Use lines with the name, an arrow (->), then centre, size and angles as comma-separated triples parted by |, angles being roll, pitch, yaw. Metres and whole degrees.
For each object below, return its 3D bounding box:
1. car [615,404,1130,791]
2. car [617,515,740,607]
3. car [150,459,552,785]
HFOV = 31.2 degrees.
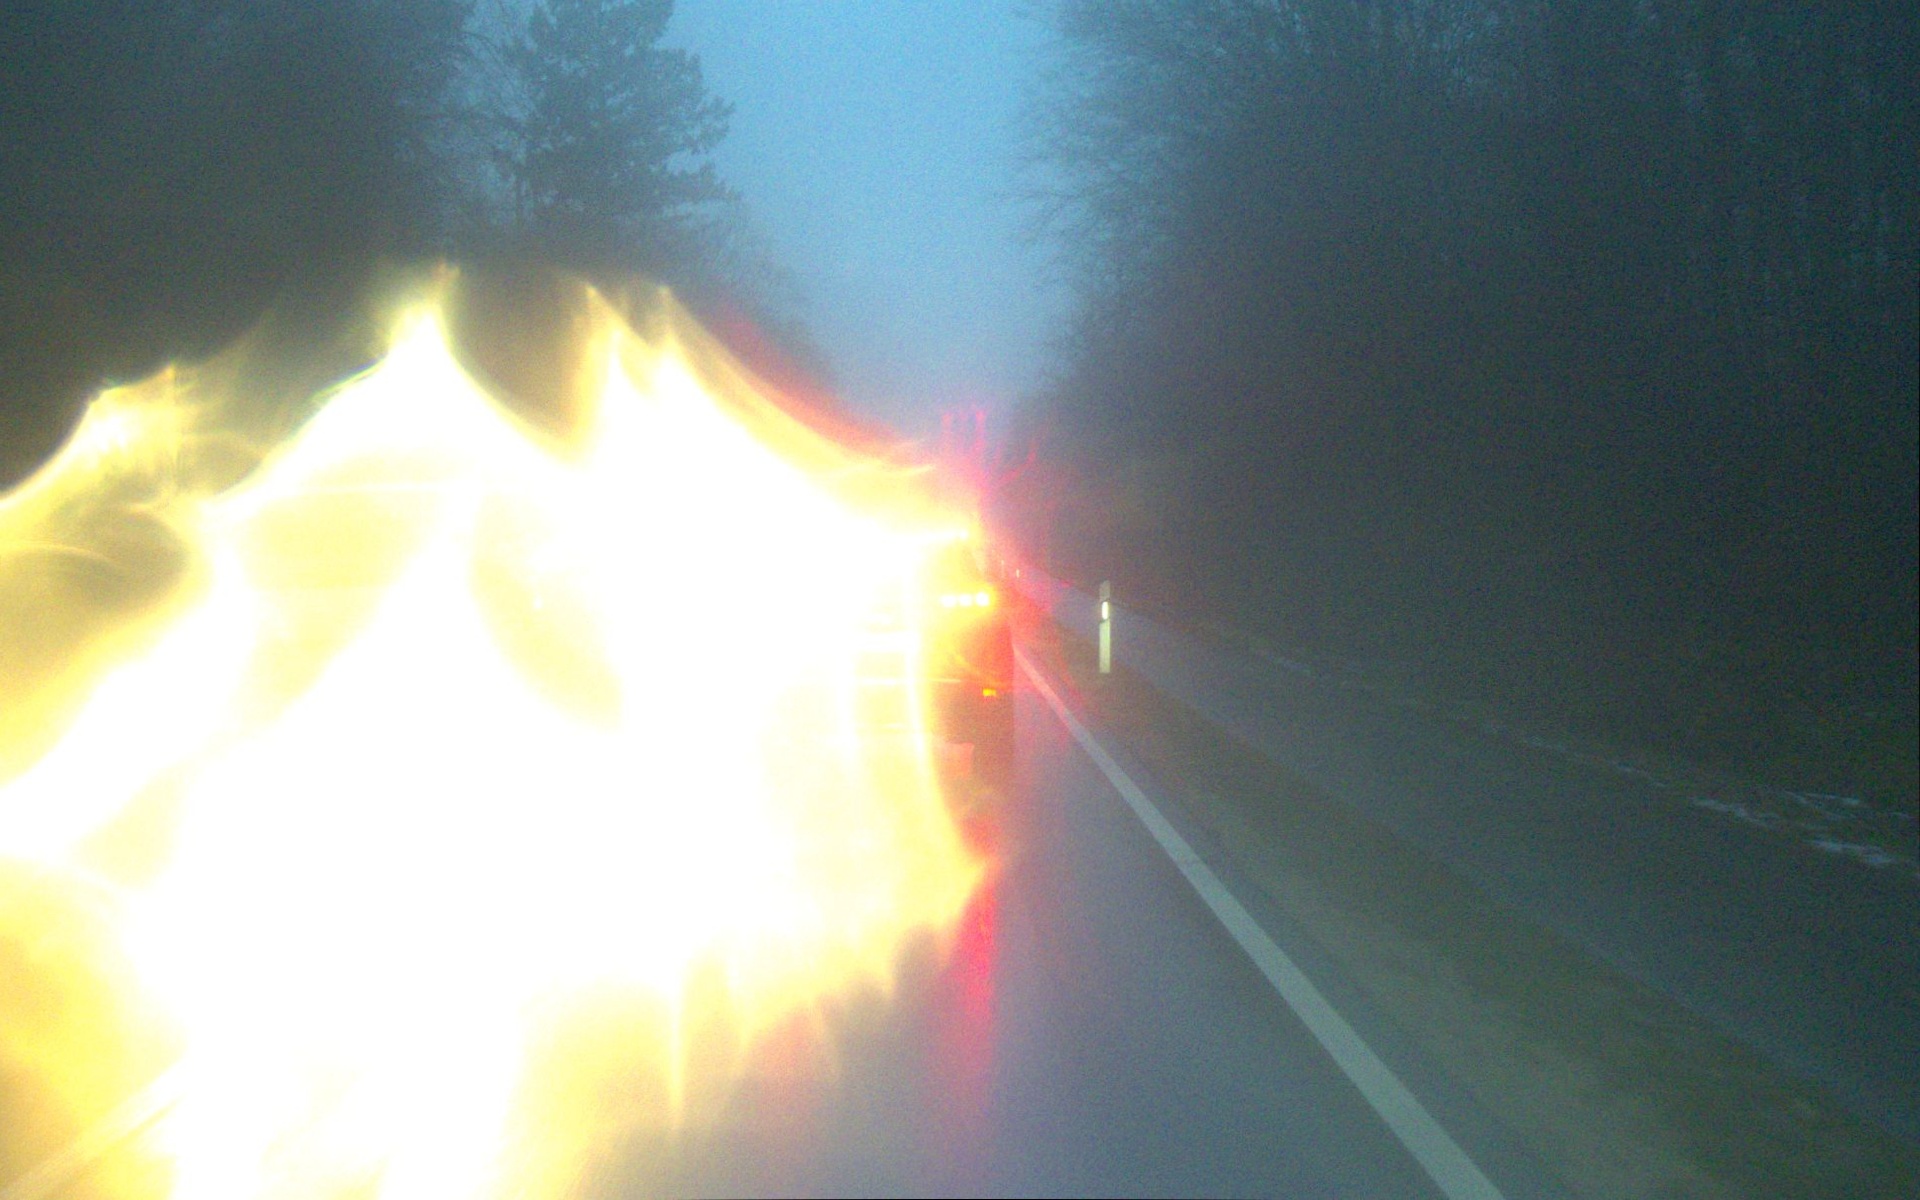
car -> -0.545, -0.072, 24.730 | 3.183, 2.378, 6.636 | 1, 1, 0
car -> -4.820, -0.689, 59.276 | 1.754, 1.453, 3.637 | -2, 1, 0
car -> -4.155, 0.094, 24.302 | 2.006, 1.982, 5.032 | -2, 1, -2
